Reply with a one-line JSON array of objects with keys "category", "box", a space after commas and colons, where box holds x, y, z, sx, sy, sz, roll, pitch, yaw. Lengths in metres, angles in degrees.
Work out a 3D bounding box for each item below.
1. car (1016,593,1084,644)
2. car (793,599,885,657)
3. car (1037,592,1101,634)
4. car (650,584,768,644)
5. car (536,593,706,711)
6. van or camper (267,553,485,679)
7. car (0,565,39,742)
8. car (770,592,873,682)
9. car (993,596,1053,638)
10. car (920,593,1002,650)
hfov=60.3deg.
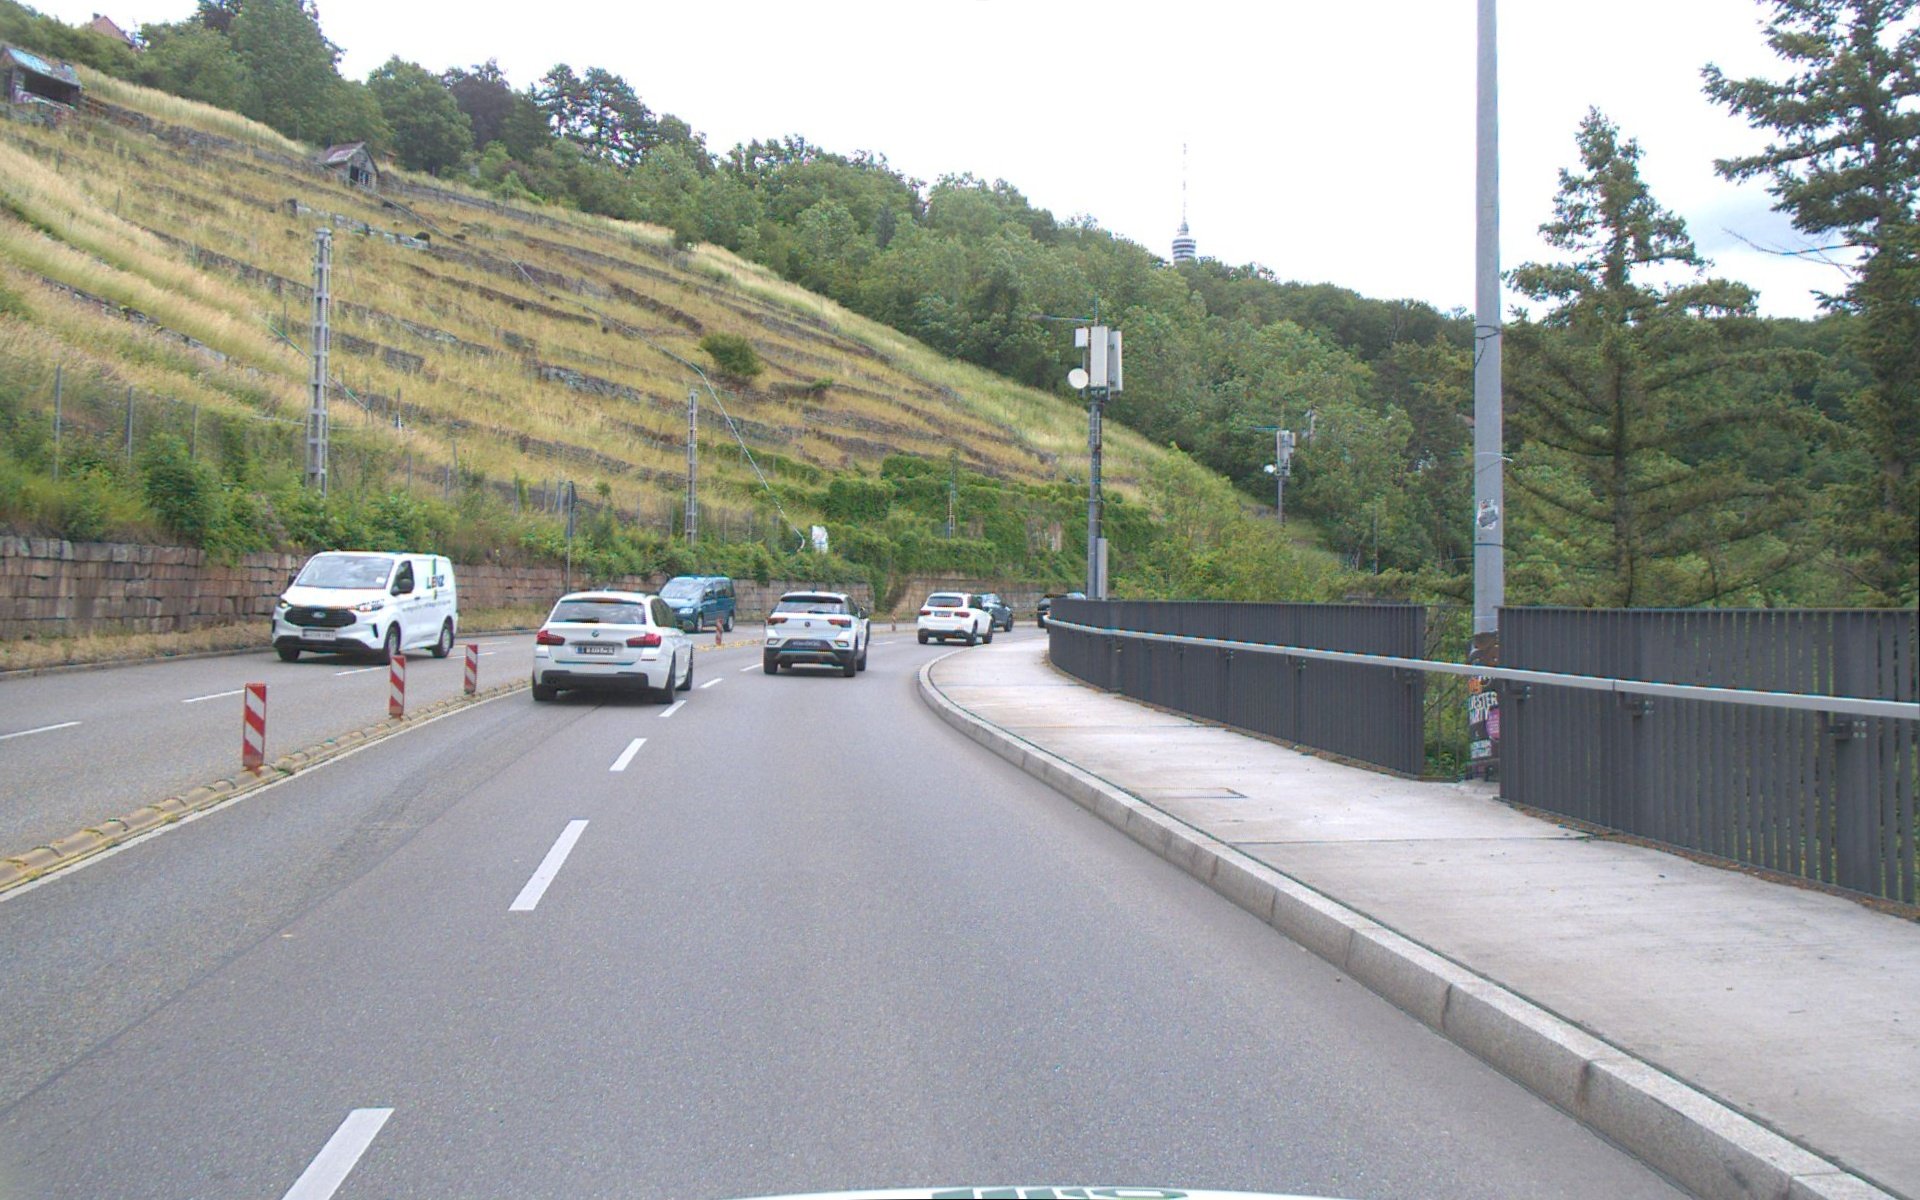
[{"category": "car", "box": [3.887, 0.825, 71.007, 1.951, 2.049, 4.002, -2, -2, 17]}, {"category": "car", "box": [-3.482, 0.804, 48.499, 1.952, 1.529, 4.670, -3, -1, 4]}, {"category": "car", "box": [5.236, 0.650, 78.862, 1.832, 1.793, 3.998, -1, -4, 23]}, {"category": "car", "box": [-8.240, 0.454, 54.783, 1.812, 1.813, 4.735, 3, 0, 19]}, {"category": "car", "box": [-4.688, 0.673, 23.443, 1.792, 1.485, 4.481, 1, 0, -5]}, {"category": "van or camper", "box": [-10.693, 0.267, 30.741, 2.103, 2.051, 4.964, 3, 0, 1]}, {"category": "car", "box": [-9.687, 0.480, 13.871, 1.828, 1.652, 4.342, 1, 0, -6]}, {"category": "car", "box": [-2.660, 0.709, 32.575, 1.791, 1.634, 3.998, 1, -1, -2]}, {"category": "car", "box": [3.068, 0.846, 79.518, 1.830, 1.793, 4.000, -1, -4, 19]}, {"category": "car", "box": [0.070, 0.699, 53.847, 1.951, 1.748, 4.117, 0, -1, 11]}]
